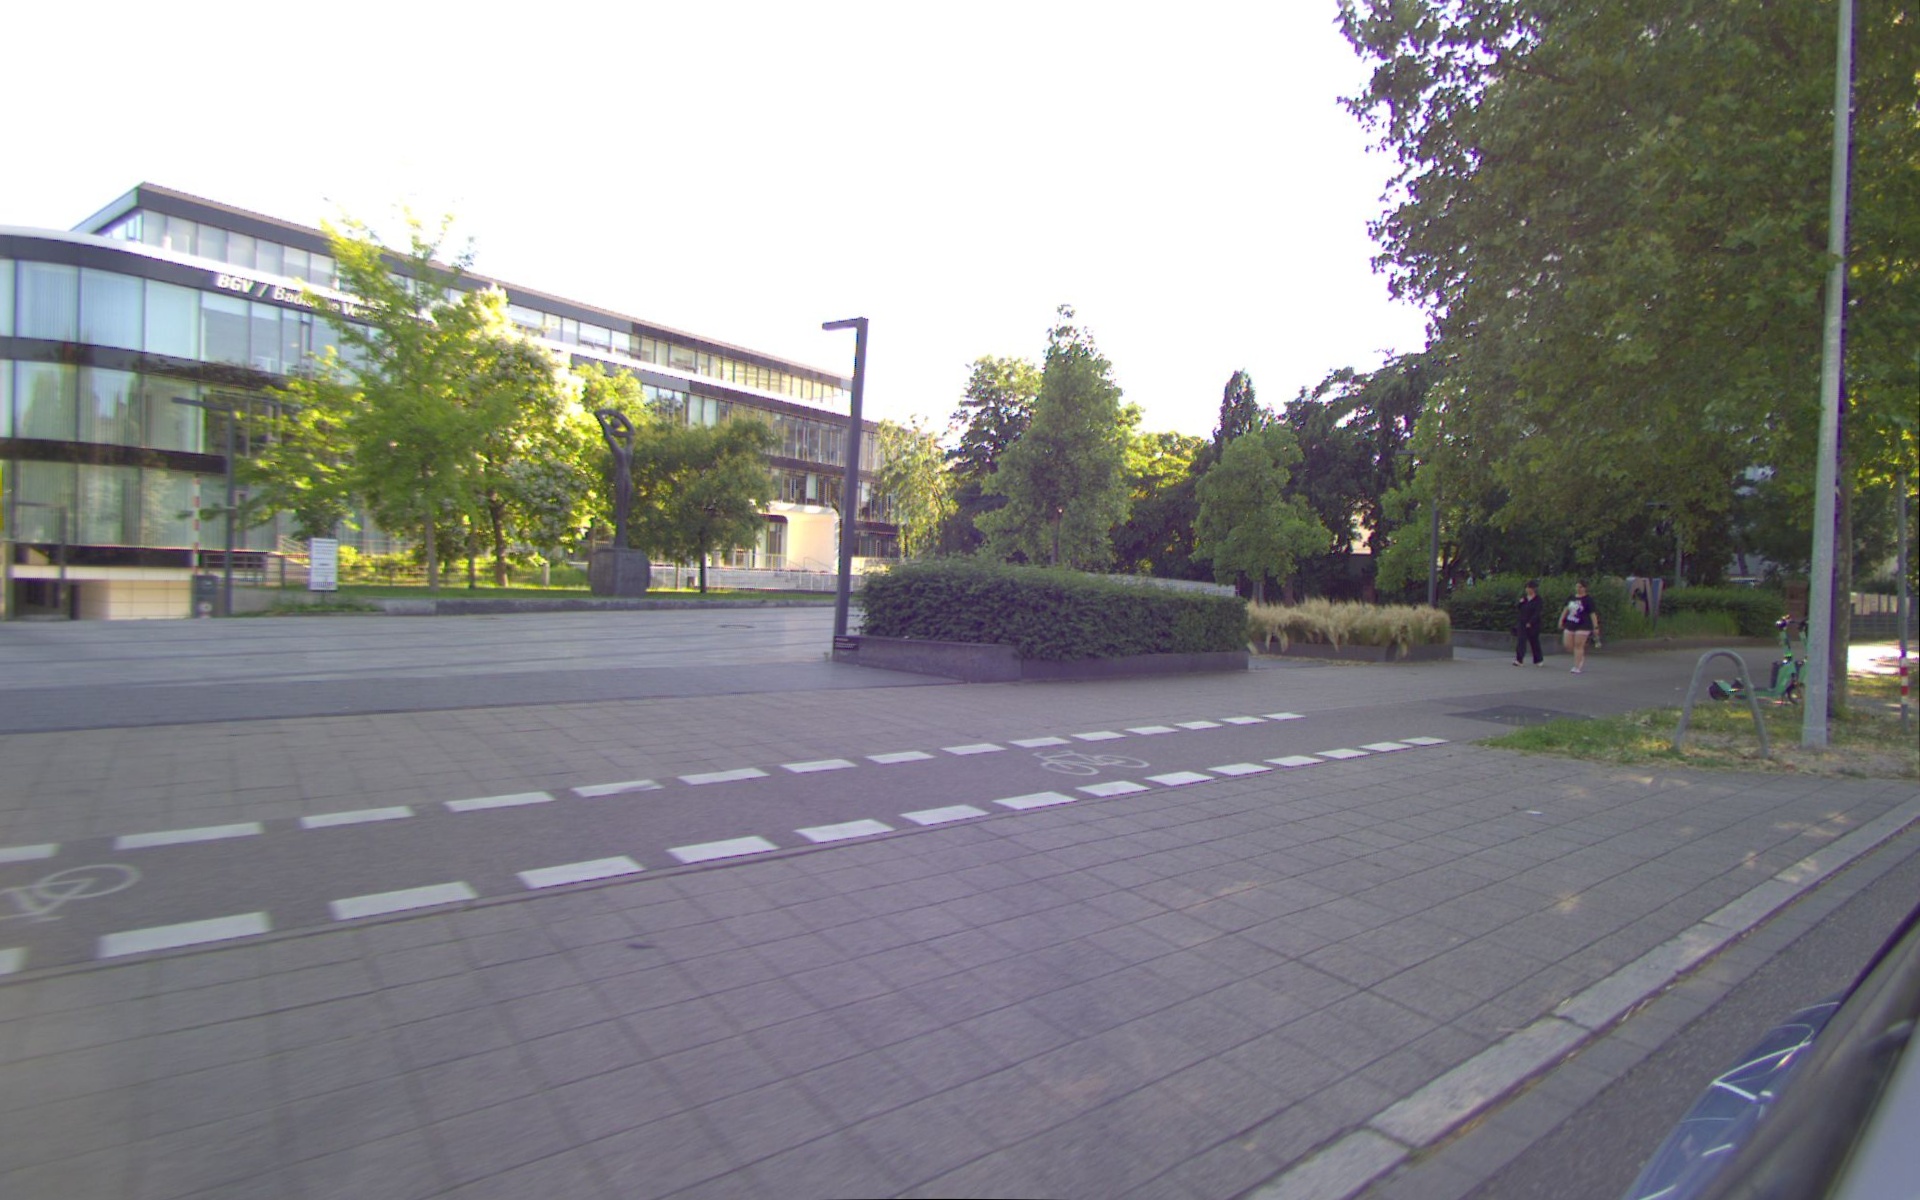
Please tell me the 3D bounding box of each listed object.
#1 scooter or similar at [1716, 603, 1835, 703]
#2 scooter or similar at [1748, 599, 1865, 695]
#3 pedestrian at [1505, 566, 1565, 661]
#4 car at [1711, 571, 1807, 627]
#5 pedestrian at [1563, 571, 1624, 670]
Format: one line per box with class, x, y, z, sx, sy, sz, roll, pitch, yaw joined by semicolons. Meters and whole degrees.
scooter or similar;11.259;0.701;13.986;0.825;1.259;1.056;1;2;-35
scooter or similar;12.038;0.642;14.408;0.825;1.259;1.056;1;2;-35
pedestrian;10.610;0.234;18.682;0.769;1.677;0.652;1;2;-38
car;38.597;-0.042;48.829;6.226;2.531;1.999;0;0;-36
pedestrian;11.139;0.352;17.790;0.726;1.677;0.629;1;2;-38
